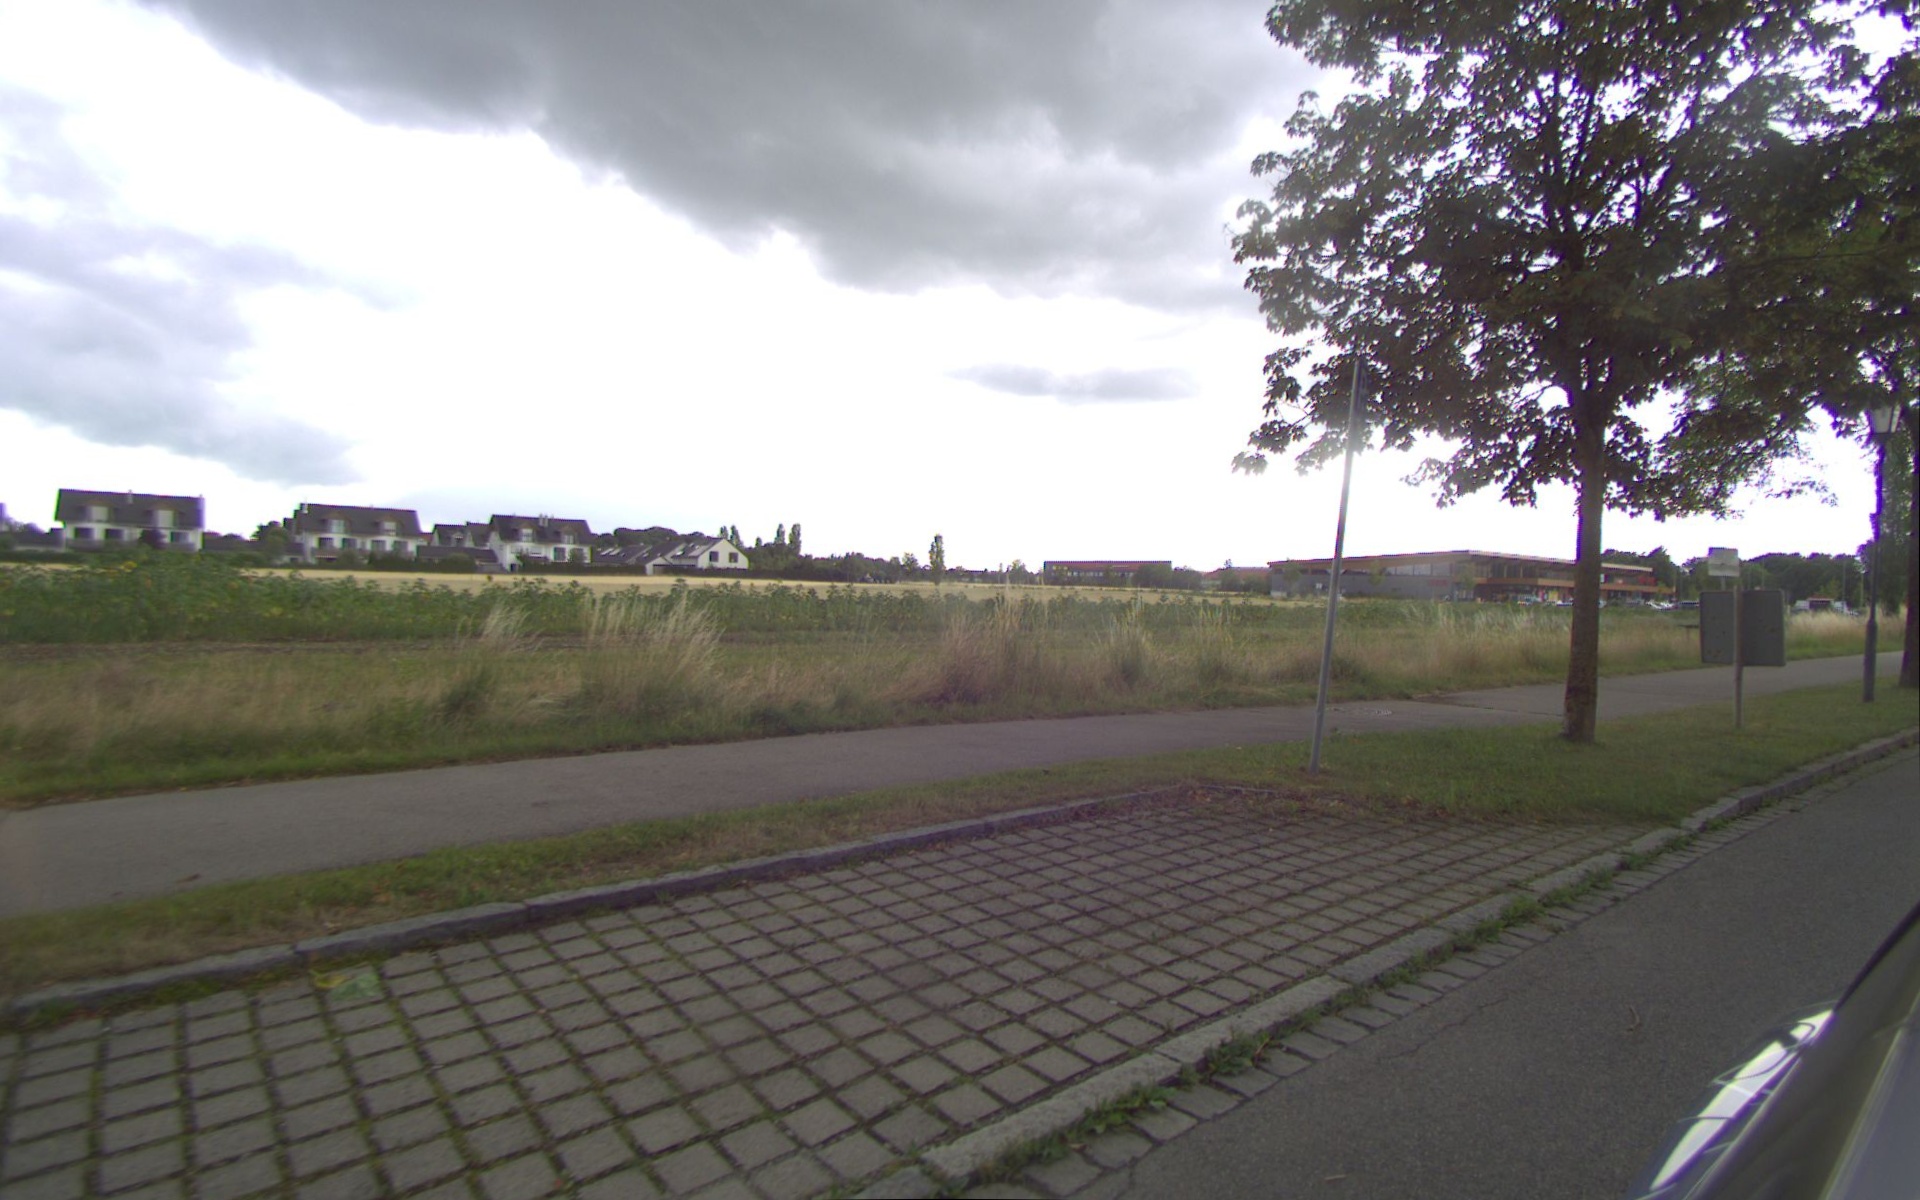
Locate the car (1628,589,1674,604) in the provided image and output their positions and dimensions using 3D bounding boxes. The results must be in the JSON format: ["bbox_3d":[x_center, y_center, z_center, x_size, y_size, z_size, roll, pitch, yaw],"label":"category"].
[{"bbox_3d":[94.471,-0.504,138.422,1.967,2.039,4.846,0,0,-44],"label":"car"}]

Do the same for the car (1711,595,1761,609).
[{"bbox_3d":[111.537,0.280,145.478,1.966,2.039,5.516,0,0,-43],"label":"car"}]

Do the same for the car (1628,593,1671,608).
[{"bbox_3d":[98.023,0.088,143.921,1.967,2.039,4.846,0,0,-44],"label":"car"}]

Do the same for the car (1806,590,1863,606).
[{"bbox_3d":[114.886,-0.217,132.990,1.966,2.039,5.516,0,0,-43],"label":"car"}]

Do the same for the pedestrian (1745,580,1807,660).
[{"bbox_3d":[18.420,0.434,22.841,0.852,1.777,0.841,1,0,-32],"label":"pedestrian"}]
